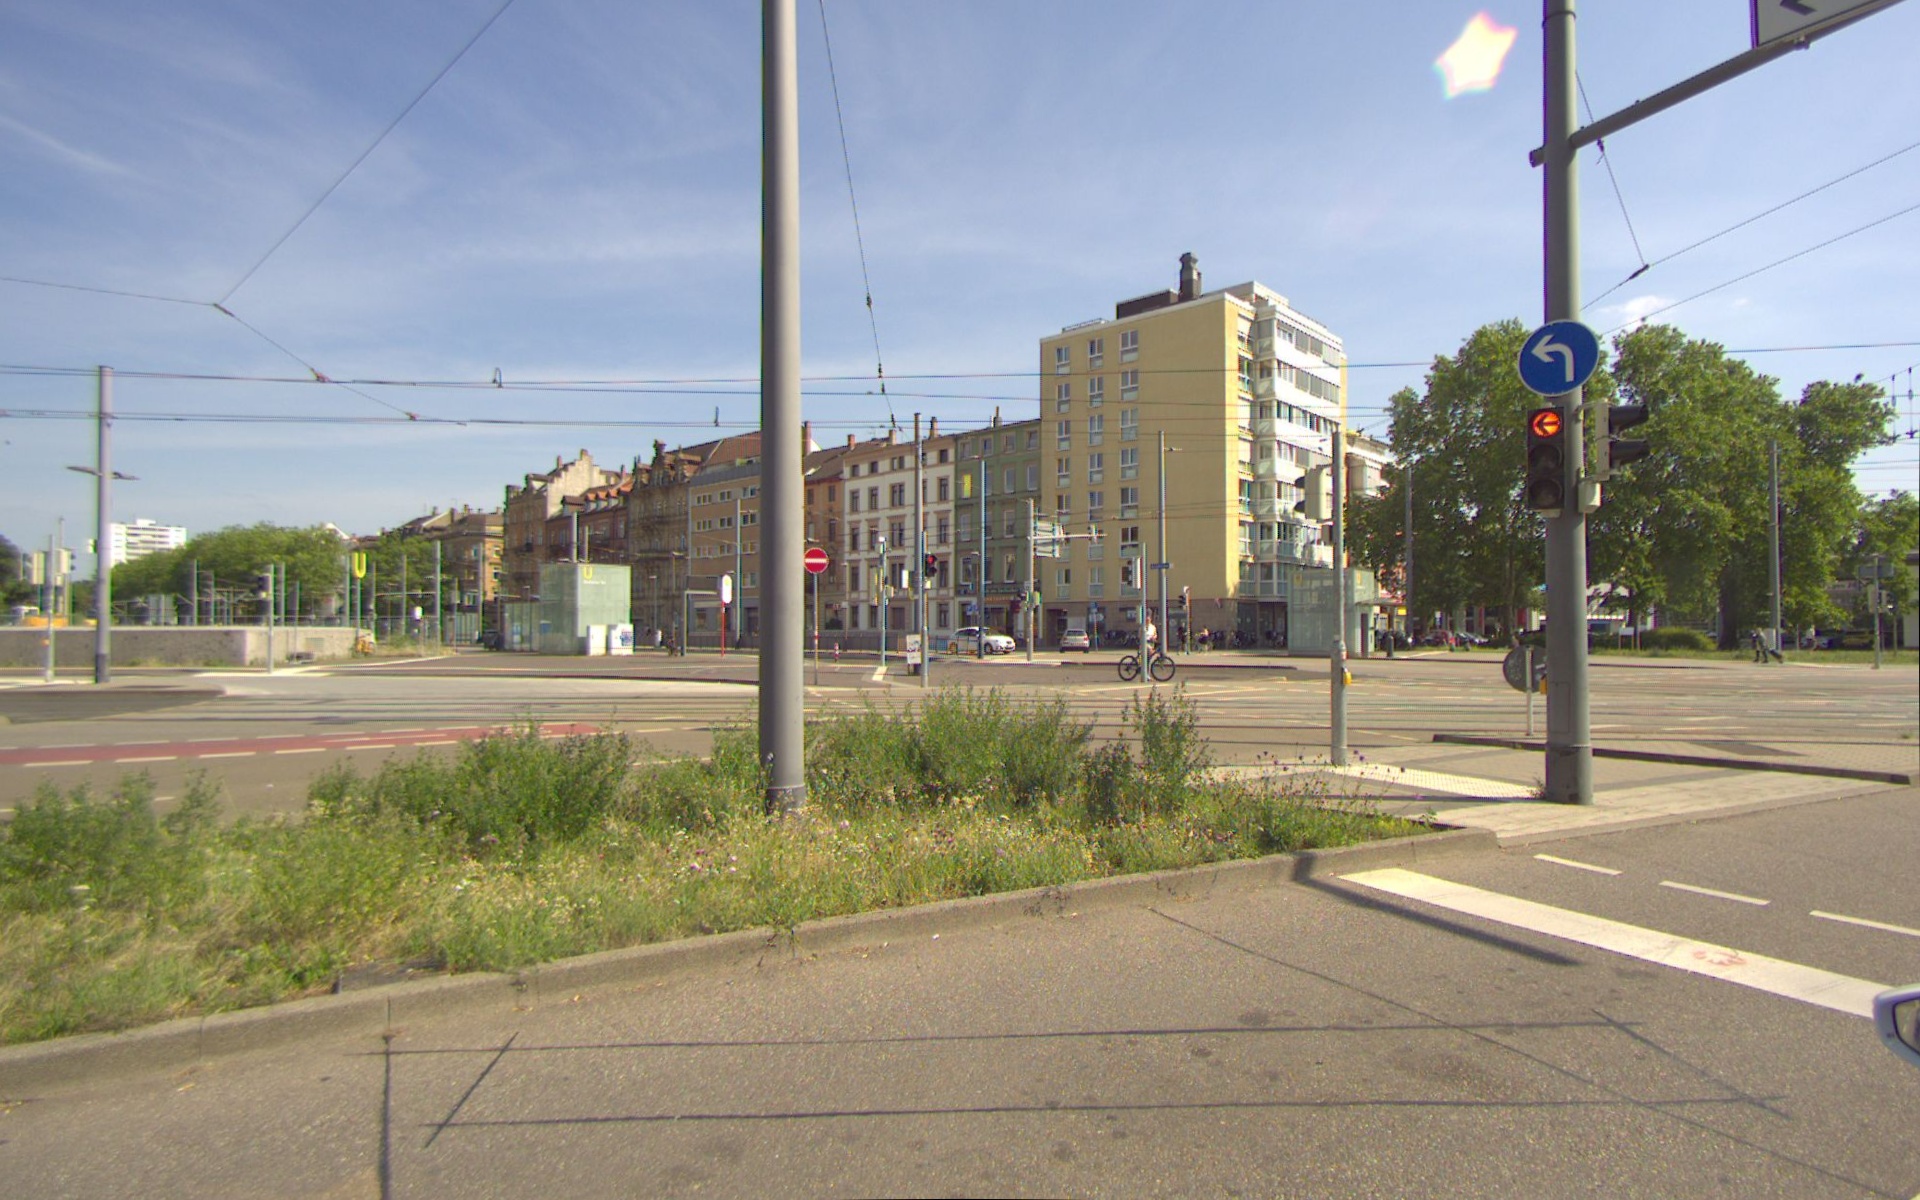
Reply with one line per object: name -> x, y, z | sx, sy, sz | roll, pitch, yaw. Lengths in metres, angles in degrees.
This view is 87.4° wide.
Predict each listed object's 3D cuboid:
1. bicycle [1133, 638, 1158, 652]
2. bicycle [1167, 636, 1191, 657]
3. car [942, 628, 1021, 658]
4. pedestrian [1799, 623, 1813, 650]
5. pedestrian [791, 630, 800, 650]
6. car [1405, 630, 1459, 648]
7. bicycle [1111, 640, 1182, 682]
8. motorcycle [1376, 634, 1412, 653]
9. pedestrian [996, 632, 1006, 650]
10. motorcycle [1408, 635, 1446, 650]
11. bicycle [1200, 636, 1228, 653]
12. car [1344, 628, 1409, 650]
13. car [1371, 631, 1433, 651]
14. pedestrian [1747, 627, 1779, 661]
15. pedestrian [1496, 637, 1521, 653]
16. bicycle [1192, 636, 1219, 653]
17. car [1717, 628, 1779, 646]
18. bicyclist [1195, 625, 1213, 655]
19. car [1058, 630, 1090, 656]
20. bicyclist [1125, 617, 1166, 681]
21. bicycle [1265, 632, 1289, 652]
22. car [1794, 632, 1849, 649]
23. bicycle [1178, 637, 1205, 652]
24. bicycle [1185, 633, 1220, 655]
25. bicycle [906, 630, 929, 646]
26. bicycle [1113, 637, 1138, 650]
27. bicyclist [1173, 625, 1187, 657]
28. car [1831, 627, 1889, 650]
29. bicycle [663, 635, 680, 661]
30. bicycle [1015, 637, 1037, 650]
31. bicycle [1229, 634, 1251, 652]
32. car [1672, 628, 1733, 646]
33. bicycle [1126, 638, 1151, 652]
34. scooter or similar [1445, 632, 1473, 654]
bicycle -> 12.738, 3.074, 68.945 | 0.579, 0.928, 1.737 | 0, -2, -39
bicycle -> 12.088, 2.579, 55.446 | 0.575, 1.145, 1.790 | -2, -3, 37
car -> 1.124, 2.283, 53.673 | 4.067, 1.417, 1.749 | -1, 1, 43
pedestrian -> 50.916, 2.191, 60.431 | 0.455, 1.617, 0.393 | 2, 0, -6
pedestrian -> -13.686, 3.325, 83.704 | 0.518, 1.687, 0.551 | -2, -2, 43
car -> 38.900, 3.210, 82.884 | 3.684, 1.358, 1.733 | 1, 0, 44
bicycle -> 5.044, 1.648, 27.275 | 0.745, 1.098, 1.828 | 2, -4, -40
motorcycle -> 24.787, 2.460, 57.384 | 0.631, 1.076, 2.028 | 0, -2, -22
pedestrian -> 3.200, 3.187, 78.294 | 0.637, 1.392, 0.524 | -1, -2, 43
motorcycle -> 28.321, 2.573, 60.958 | 1.997, 0.853, 0.641 | 0, -1, 4
bicycle -> 16.497, 2.871, 65.208 | 0.579, 1.056, 1.737 | 0, -2, -40
car -> 30.513, 2.839, 73.675 | 3.945, 1.459, 1.879 | 1, 0, 44
car -> 33.764, 3.125, 76.780 | 3.945, 1.287, 1.733 | 1, 0, 44
pedestrian -> 35.772, 1.952, 44.764 | 1.100, 1.422, 0.654 | 2, 0, 39
pedestrian -> 32.297, 2.654, 59.112 | 1.159, 0.904, 0.818 | -1, -2, 41
bicycle -> 15.870, 2.863, 64.984 | 0.578, 1.100, 1.740 | -3, 0, -34
car -> 70.328, 3.249, 89.713 | 1.977, 1.572, 3.967 | 1, -2, -31
bicyclist -> 13.147, 2.156, 54.026 | 0.605, 1.593, 0.728 | 1, -3, -29
car -> 7.009, 2.670, 62.077 | 1.777, 1.458, 4.004 | 1, -4, 4
bicyclist -> 5.046, 1.333, 27.267 | 0.745, 1.706, 0.768 | 2, -4, -40
bicycle -> 20.460, 2.728, 64.860 | 1.740, 1.235, 0.578 | 0, -1, -37
car -> 70.173, 3.280, 81.824 | 3.946, 1.261, 1.988 | 2, 0, -25
bicycle -> 15.306, 2.949, 66.350 | 0.579, 0.978, 1.736 | 0, -2, -41
bicycle -> 13.049, 2.377, 54.002 | 1.775, 1.145, 0.749 | 1, -1, -30
bicycle -> -3.036, 2.713, 71.247 | 0.589, 1.109, 1.738 | 0, -2, 43
bicycle -> 11.537, 3.043, 70.042 | 1.733, 0.928, 0.580 | -2, -2, 44
bicyclist -> 12.110, 2.265, 55.279 | 0.575, 1.757, 0.615 | -2, -3, 37
car -> 71.648, 3.093, 79.965 | 3.946, 1.706, 1.988 | 2, 0, -25
bicycle -> -13.175, 2.186, 45.904 | 0.408, 1.085, 1.651 | 0, 0, -28
bicycle -> 4.992, 3.303, 76.308 | 1.755, 0.977, 0.412 | -2, 0, 43
bicycle -> 18.355, 2.803, 65.768 | 0.534, 1.201, 1.878 | -1, -2, 45
car -> 66.628, 3.309, 90.194 | 1.976, 1.390, 3.968 | 2, 0, -30
bicycle -> 12.229, 3.057, 68.712 | 0.579, 0.928, 1.737 | 0, -2, -39
scooter or similar -> 27.091, 2.319, 54.530 | 0.509, 1.134, 1.358 | 0, -1, -19
